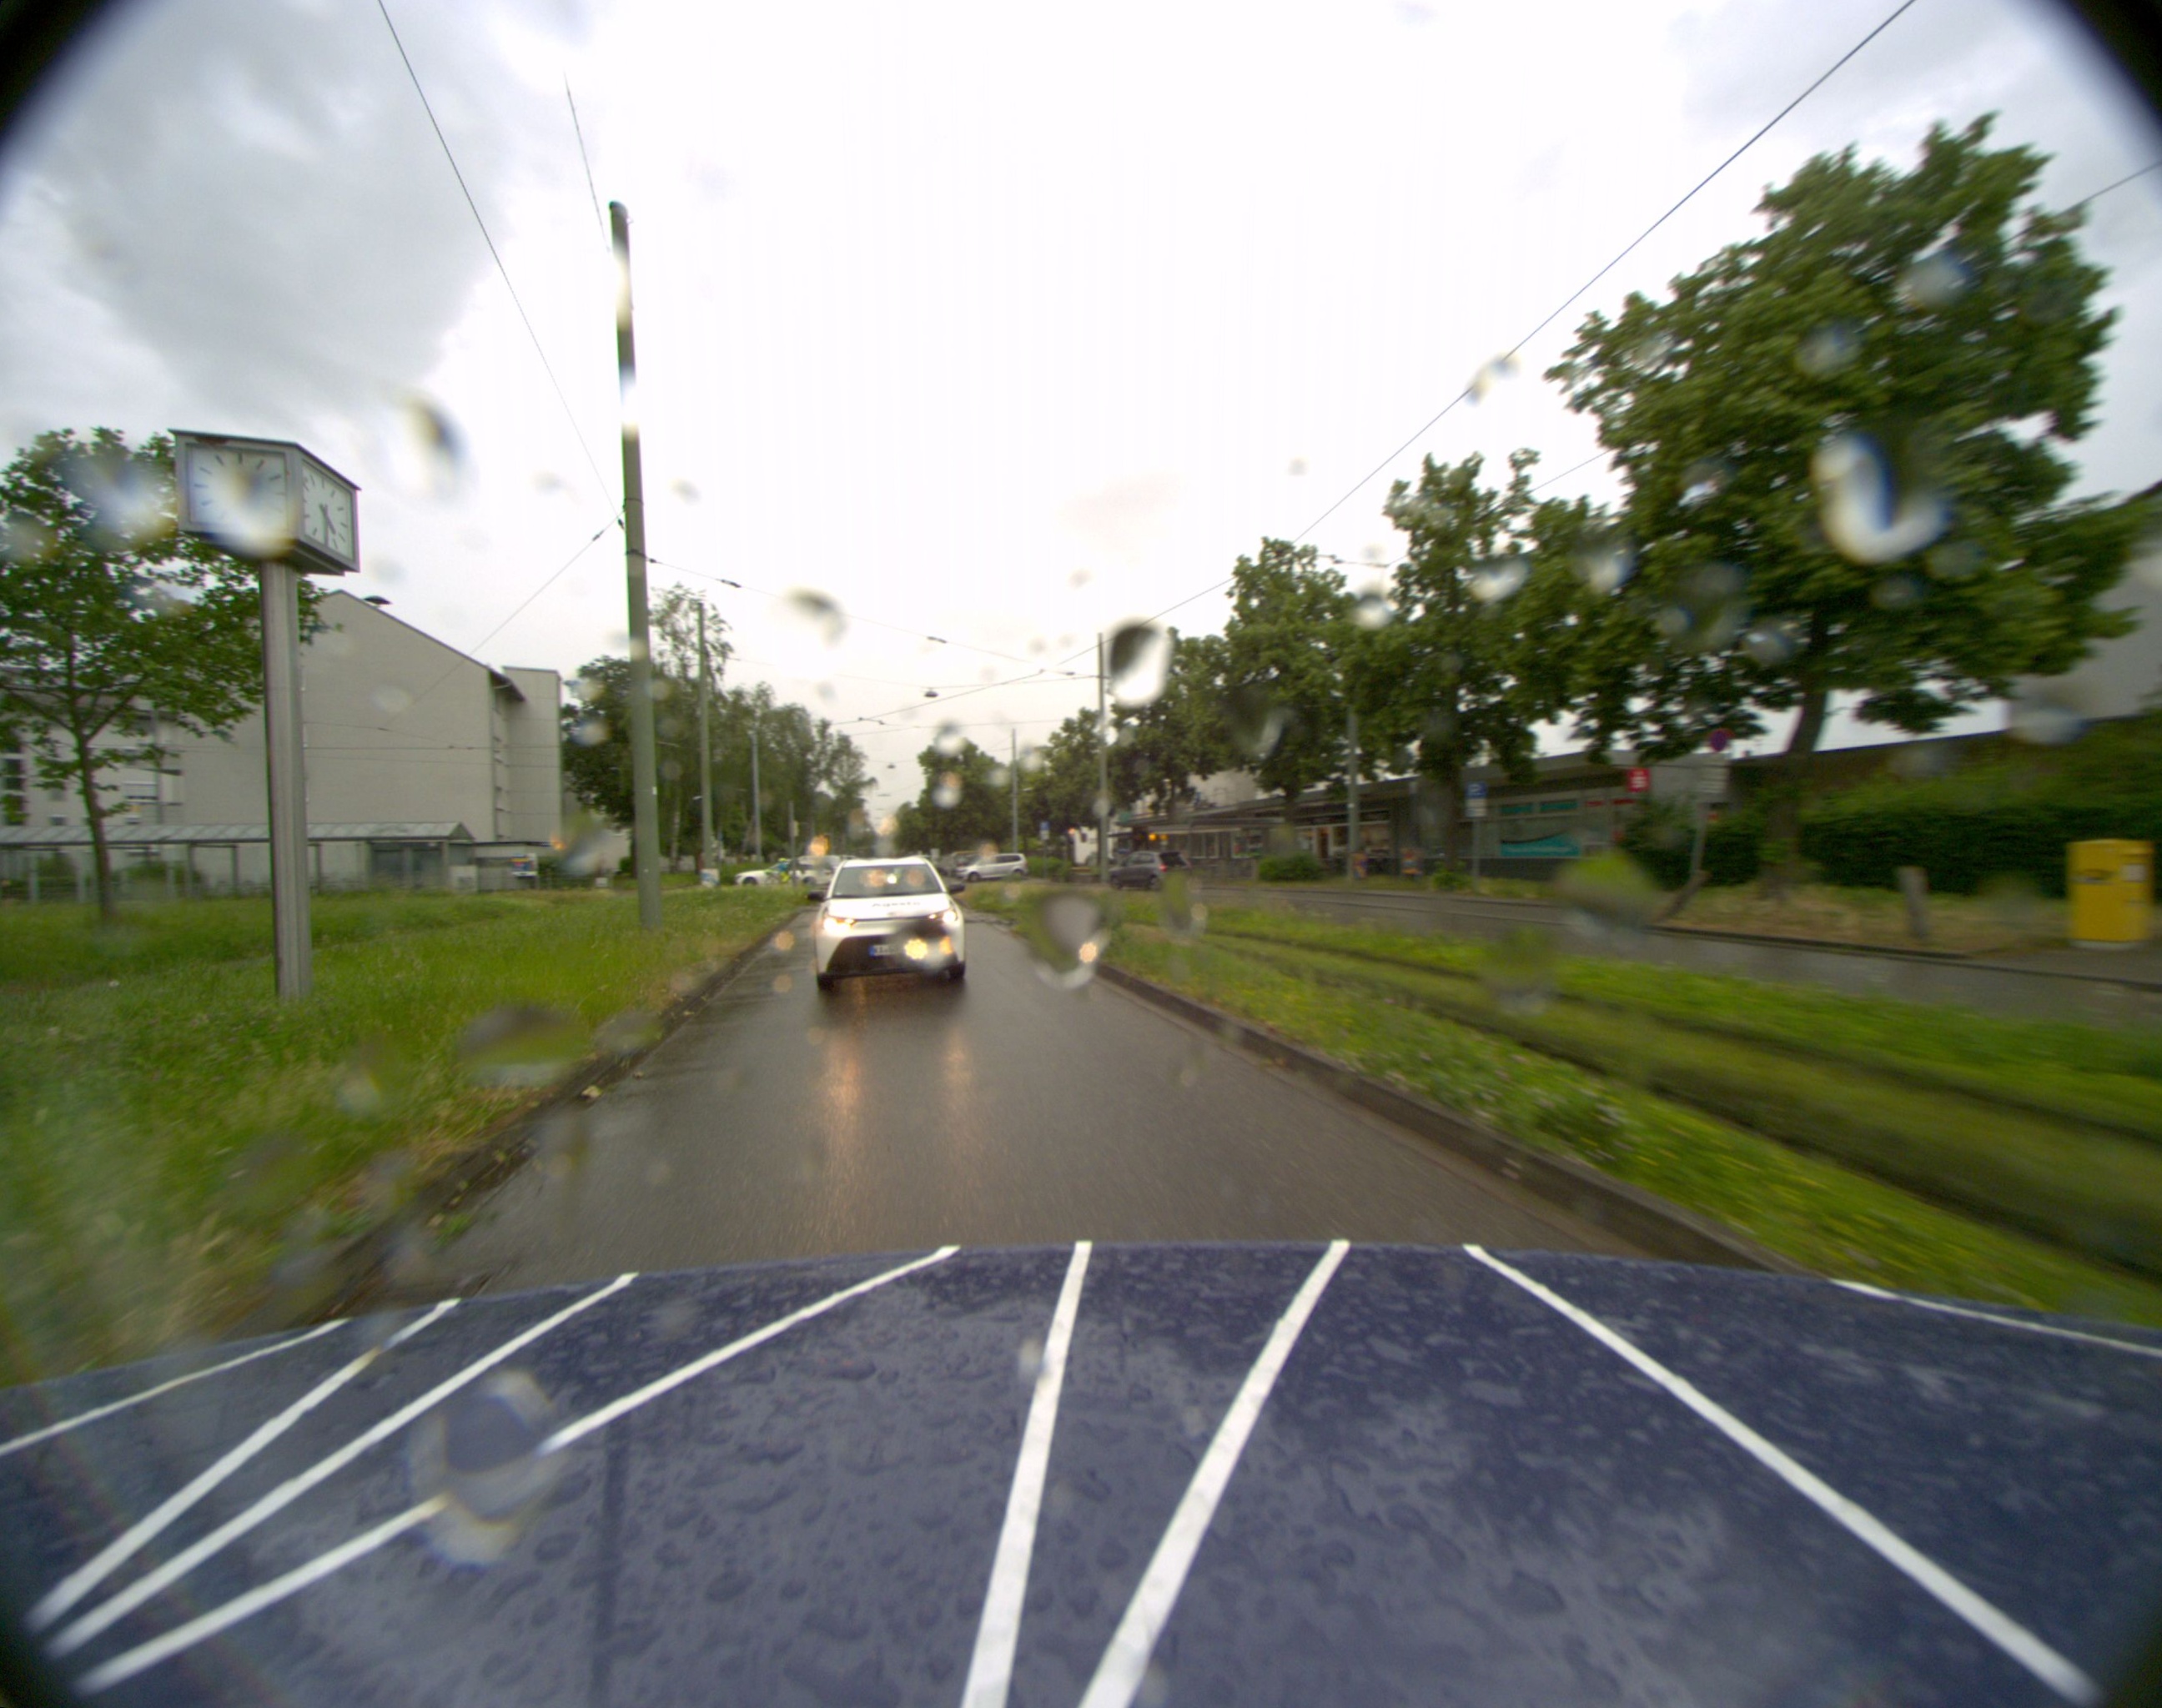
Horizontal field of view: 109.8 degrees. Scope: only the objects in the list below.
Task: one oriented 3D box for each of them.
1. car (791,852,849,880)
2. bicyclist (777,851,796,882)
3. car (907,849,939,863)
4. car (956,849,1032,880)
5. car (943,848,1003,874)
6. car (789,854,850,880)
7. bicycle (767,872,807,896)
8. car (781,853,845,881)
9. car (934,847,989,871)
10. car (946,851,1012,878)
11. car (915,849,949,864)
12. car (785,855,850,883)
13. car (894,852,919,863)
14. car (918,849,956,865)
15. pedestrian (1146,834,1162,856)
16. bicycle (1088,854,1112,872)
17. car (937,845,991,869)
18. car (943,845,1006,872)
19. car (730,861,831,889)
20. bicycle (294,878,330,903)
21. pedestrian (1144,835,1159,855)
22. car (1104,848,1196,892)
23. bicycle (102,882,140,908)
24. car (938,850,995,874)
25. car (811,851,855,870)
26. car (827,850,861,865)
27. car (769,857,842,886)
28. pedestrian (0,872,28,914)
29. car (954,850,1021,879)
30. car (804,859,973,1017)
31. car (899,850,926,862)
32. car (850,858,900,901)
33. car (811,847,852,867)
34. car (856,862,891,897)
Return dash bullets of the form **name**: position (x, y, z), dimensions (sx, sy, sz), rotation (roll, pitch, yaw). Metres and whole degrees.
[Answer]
- **car**: position (-22.056, 0.967, 64.203), dimensions (4.448, 2.050, 1.720), rotation (-4, 1, -19)
- **bicyclist**: position (-14.971, 0.630, 38.600), dimensions (0.700, 1.507, 0.723), rotation (-2, 0, -34)
- **car**: position (-24.451, 0.261, 117.602), dimensions (4.552, 1.932, 1.896), rotation (-3, 1, -17)
- **car**: position (-5.375, 0.650, 46.940), dimensions (4.340, 1.664, 1.997), rotation (-3, 1, -17)
- **car**: position (-7.995, 0.484, 56.354), dimensions (4.093, 1.699, 1.896), rotation (-3, 1, -17)
- **car**: position (-21.070, 1.018, 61.455), dimensions (4.447, 1.836, 1.720), rotation (-4, 1, -14)
- **bicycle**: position (-14.924, 1.529, 38.604), dimensions (1.756, 1.123, 0.727), rotation (-2, 0, -34)
- **car**: position (-20.736, 0.981, 59.040), dimensions (4.447, 1.836, 1.720), rotation (-4, 1, -14)
- **car**: position (-10.640, 0.445, 67.853), dimensions (4.552, 1.932, 1.896), rotation (-3, 1, -17)
- **car**: position (-6.901, 0.700, 51.325), dimensions (4.093, 1.562, 1.997), rotation (-3, 1, -17)
- **car**: position (-21.098, 0.372, 107.537), dimensions (4.552, 1.932, 1.896), rotation (-3, 1, -17)
- **car**: position (-18.013, 1.001, 52.078), dimensions (4.001, 1.577, 1.720), rotation (-4, 1, -14)
- **car**: position (-34.068, 0.687, 148.074), dimensions (4.552, 1.932, 1.896), rotation (-3, 1, -17)
- **car**: position (-18.599, 0.386, 98.338), dimensions (4.552, 1.932, 1.896), rotation (-3, 1, -17)
- **pedestrian**: position (5.701, -0.685, 59.516), dimensions (1.080, 1.704, 0.947), rotation (-1, 2, -5)
- **bicycle**: position (1.177, 0.550, 47.003), dimensions (0.595, 1.066, 1.746), rotation (-1, 0, -33)
- **car**: position (-10.047, 0.223, 65.186), dimensions (4.308, 1.799, 1.896), rotation (-3, 1, -17)
- **car**: position (-7.506, 0.294, 53.605), dimensions (4.093, 1.699, 1.896), rotation (-3, 1, -17)
- **car**: position (-16.081, 1.103, 40.929), dimensions (4.845, 1.449, 1.997), rotation (0, 0, -15)
- **bicycle**: position (-31.332, 1.481, 30.979), dimensions (0.377, 0.951, 1.236), rotation (-4, 1, -12)
- **pedestrian**: position (5.635, -0.697, 60.753), dimensions (1.080, 1.575, 0.947), rotation (-1, 2, -5)
- **car**: position (2.600, 0.591, 29.243), dimensions (1.554, 1.495, 3.614), rotation (-4, 1, -33)
- **bicycle**: position (-37.592, 1.612, 29.762), dimensions (0.418, 0.942, 1.305), rotation (-4, 2, -31)
- **car**: position (-8.902, 0.603, 59.153), dimensions (4.093, 1.699, 1.896), rotation (-3, 1, -17)
- **car**: position (-27.972, 0.719, 85.752), dimensions (4.552, 1.932, 1.896), rotation (-3, 1, -17)
- **car**: position (-34.463, 0.524, 110.560), dimensions (4.552, 2.013, 1.896), rotation (-3, 1, -17)
- **car**: position (-17.028, 1.063, 47.073), dimensions (4.001, 1.477, 1.720), rotation (-4, 1, -14)
- **pedestrian**: position (-41.394, 1.503, 29.198), dimensions (0.636, 1.564, 0.788), rotation (-4, 2, -17)
- **car**: position (-6.040, 0.649, 49.063), dimensions (3.950, 1.664, 1.791), rotation (-3, 1, -17)
- **car**: position (-2.546, 0.951, 10.075), dimensions (1.721, 1.613, 3.711), rotation (-2, -1, -15)
- **car**: position (-29.837, 0.371, 134.566), dimensions (4.552, 1.932, 1.896), rotation (-3, 1, -17)
- **car**: position (-9.121, 1.071, 33.899), dimensions (1.964, 1.544, 3.994), rotation (-2, 3, -13)
- **car**: position (-29.460, 0.325, 89.796), dimensions (4.448, 2.050, 1.720), rotation (-4, 1, -19)
- **car**: position (-13.627, 1.639, 49.753), dimensions (2.001, 2.002, 3.994), rotation (-4, 1, -16)
